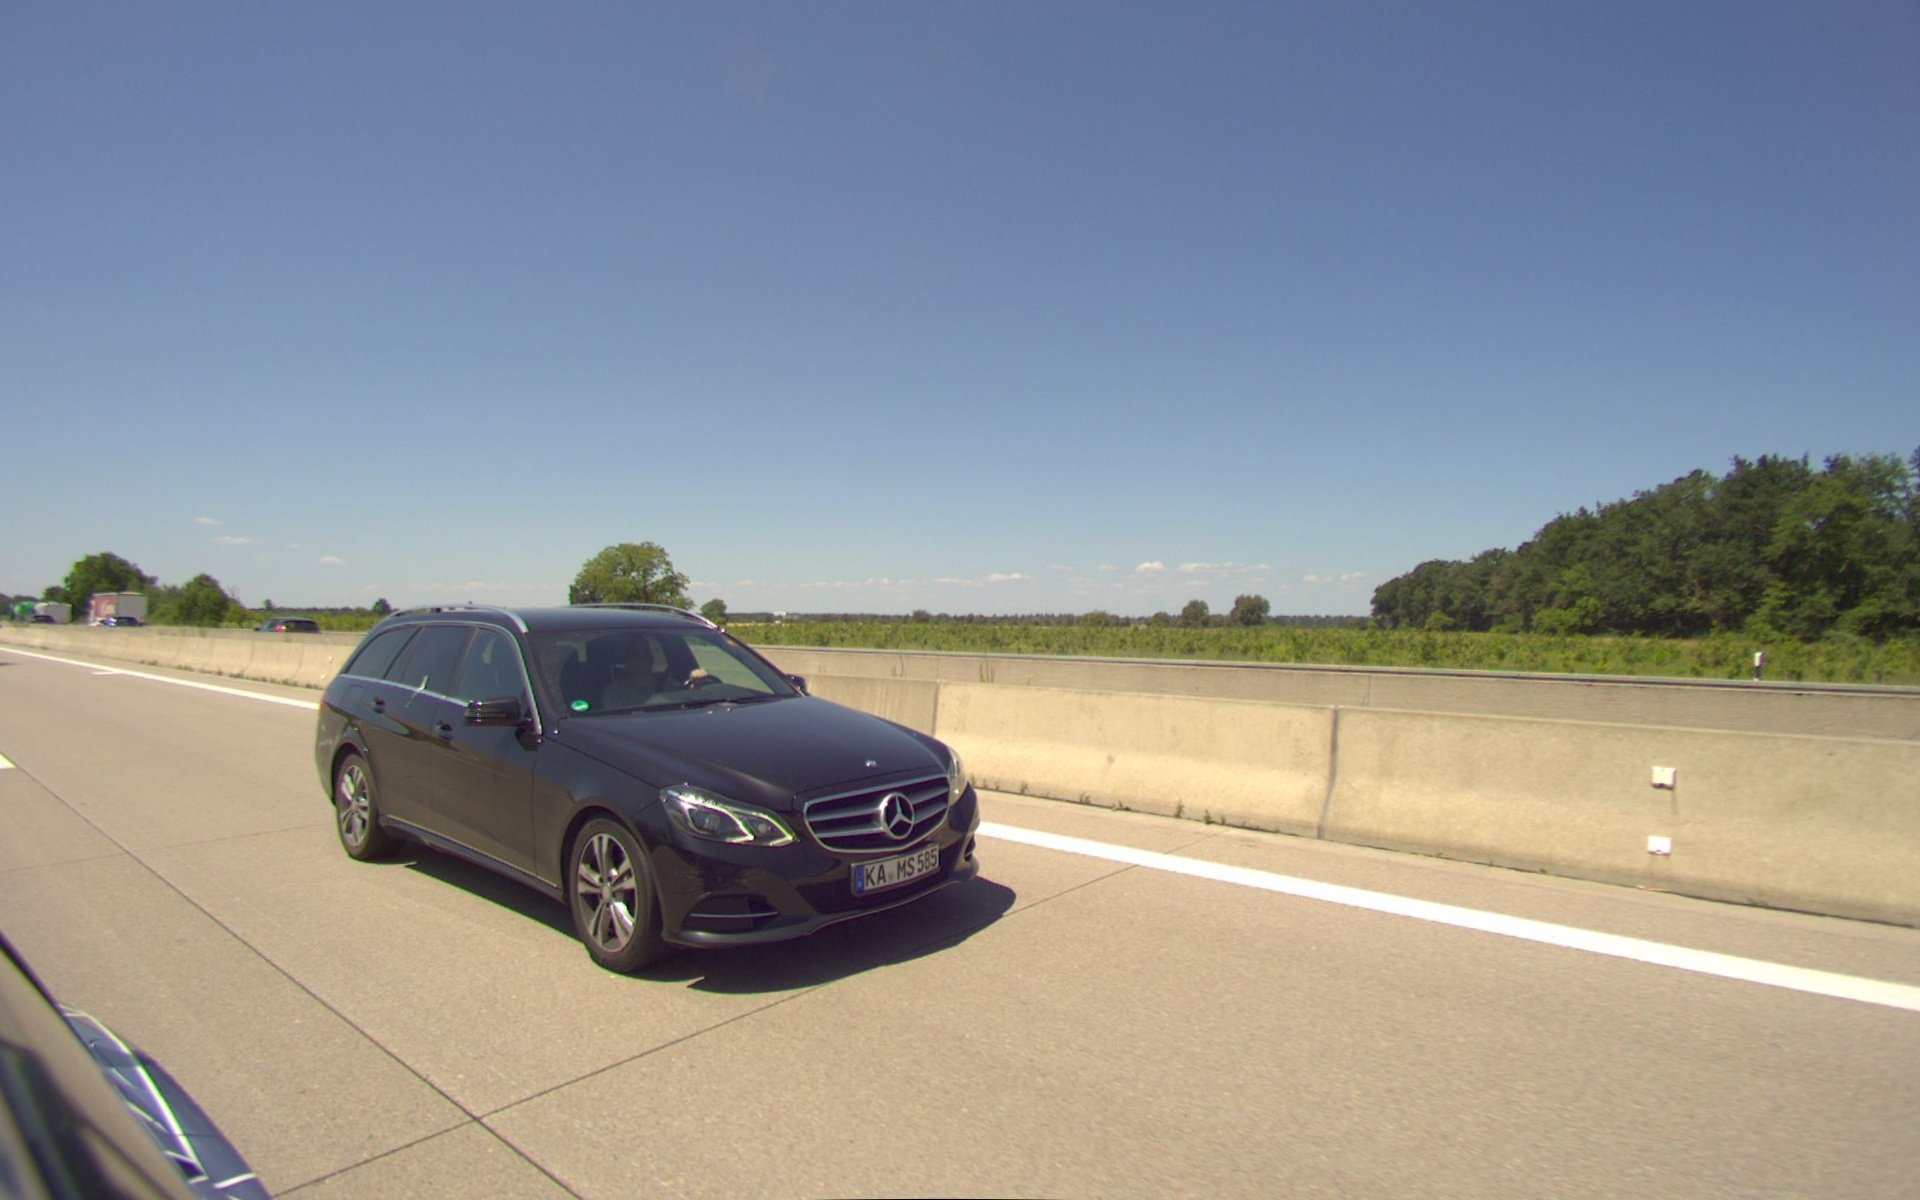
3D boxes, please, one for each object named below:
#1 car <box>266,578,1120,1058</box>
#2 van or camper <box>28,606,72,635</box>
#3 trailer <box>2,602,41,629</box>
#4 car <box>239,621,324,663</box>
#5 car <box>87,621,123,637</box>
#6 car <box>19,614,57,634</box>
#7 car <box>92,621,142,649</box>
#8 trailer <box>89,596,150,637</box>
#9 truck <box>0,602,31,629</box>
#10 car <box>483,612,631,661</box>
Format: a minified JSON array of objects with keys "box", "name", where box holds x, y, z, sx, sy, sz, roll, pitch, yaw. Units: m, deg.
[{"box":[-1.988,0.730,5.708,5.601,1.484,1.871,-1,-2,41],"name":"car"},{"box":[-94.846,2.189,105.391,7.934,2.912,2.499,-1,-2,42],"name":"van or camper"},{"box":[-139.747,2.313,150.704,11.093,3.907,2.708,-1,-2,39],"name":"trailer"},{"box":[-26.311,1.590,39.194,4.078,1.508,1.738,-1,-2,41],"name":"car"},{"box":[-72.211,2.442,85.416,4.789,1.273,1.670,-1,-2,42],"name":"car"},{"box":[-77.574,2.002,85.175,4.425,1.628,1.823,-1,-2,41],"name":"car"},{"box":[-49.990,2.057,59.997,4.337,1.556,1.670,-1,-2,42],"name":"car"},{"box":[-86.501,1.729,104.054,12.337,4.013,2.968,-1,-2,42],"name":"trailer"},{"box":[-143.830,2.372,154.057,6.198,3.912,2.717,-1,-2,39],"name":"truck"},{"box":[-13.569,1.195,33.862,6.132,1.508,2.044,-1,-2,41],"name":"car"}]
